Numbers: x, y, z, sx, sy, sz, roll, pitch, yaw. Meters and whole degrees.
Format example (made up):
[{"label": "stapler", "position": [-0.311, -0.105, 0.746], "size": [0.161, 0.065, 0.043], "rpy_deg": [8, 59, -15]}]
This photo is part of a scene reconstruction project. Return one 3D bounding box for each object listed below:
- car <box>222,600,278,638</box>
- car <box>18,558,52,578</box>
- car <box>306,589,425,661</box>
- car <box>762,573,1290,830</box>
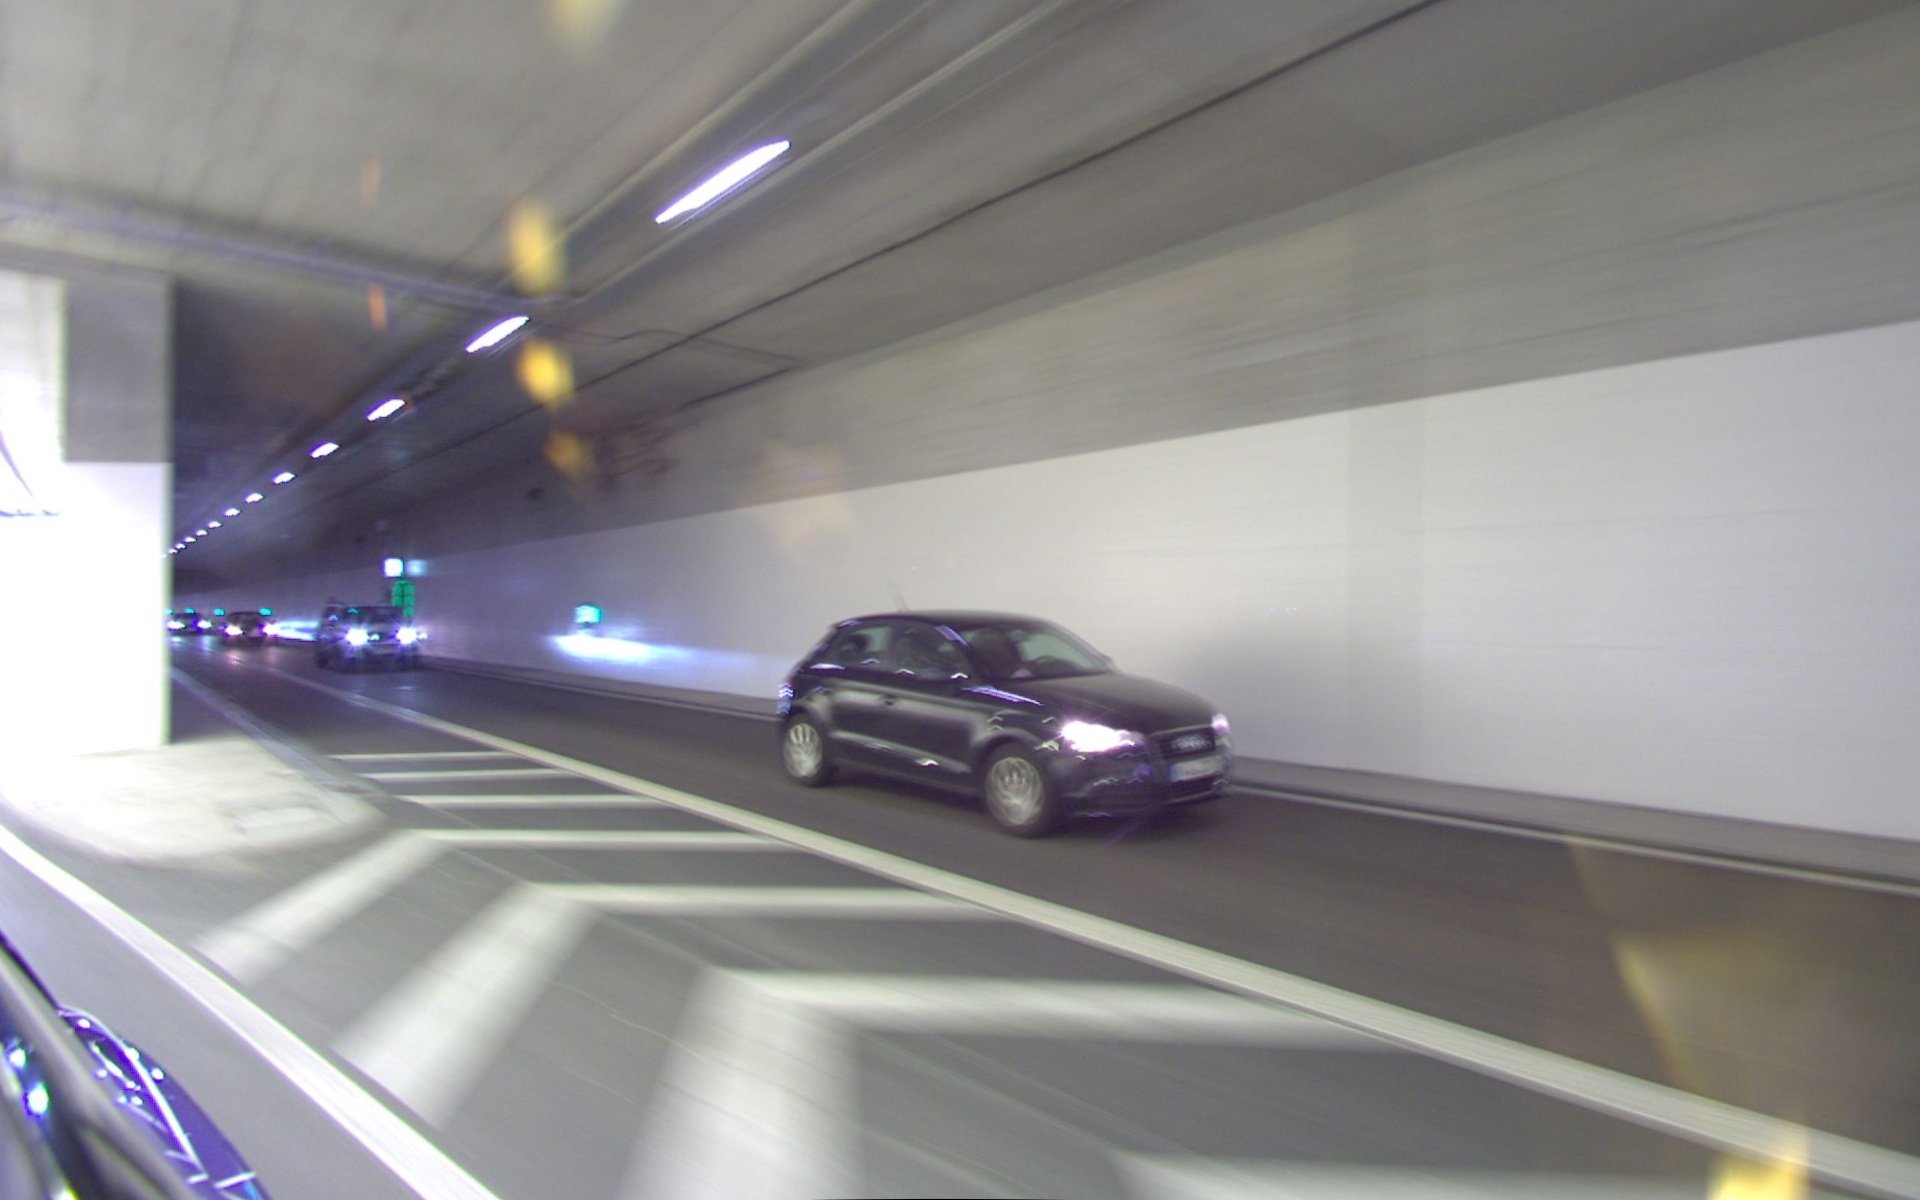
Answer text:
[{"label": "car", "position": [-30.469, 0.811, 43.416], "size": [1.584, 1.481, 3.686], "rpy_deg": [-2, 1, -41]}, {"label": "car", "position": [-69.167, -2.399, 75.716], "size": [1.802, 1.346, 4.006], "rpy_deg": [0, -1, -41]}, {"label": "car", "position": [-14.970, 0.606, 25.406], "size": [1.827, 1.677, 3.835], "rpy_deg": [0, -1, -43]}, {"label": "car", "position": [0.266, 0.586, 7.564], "size": [1.636, 1.412, 3.880], "rpy_deg": [0, -1, -43]}]
